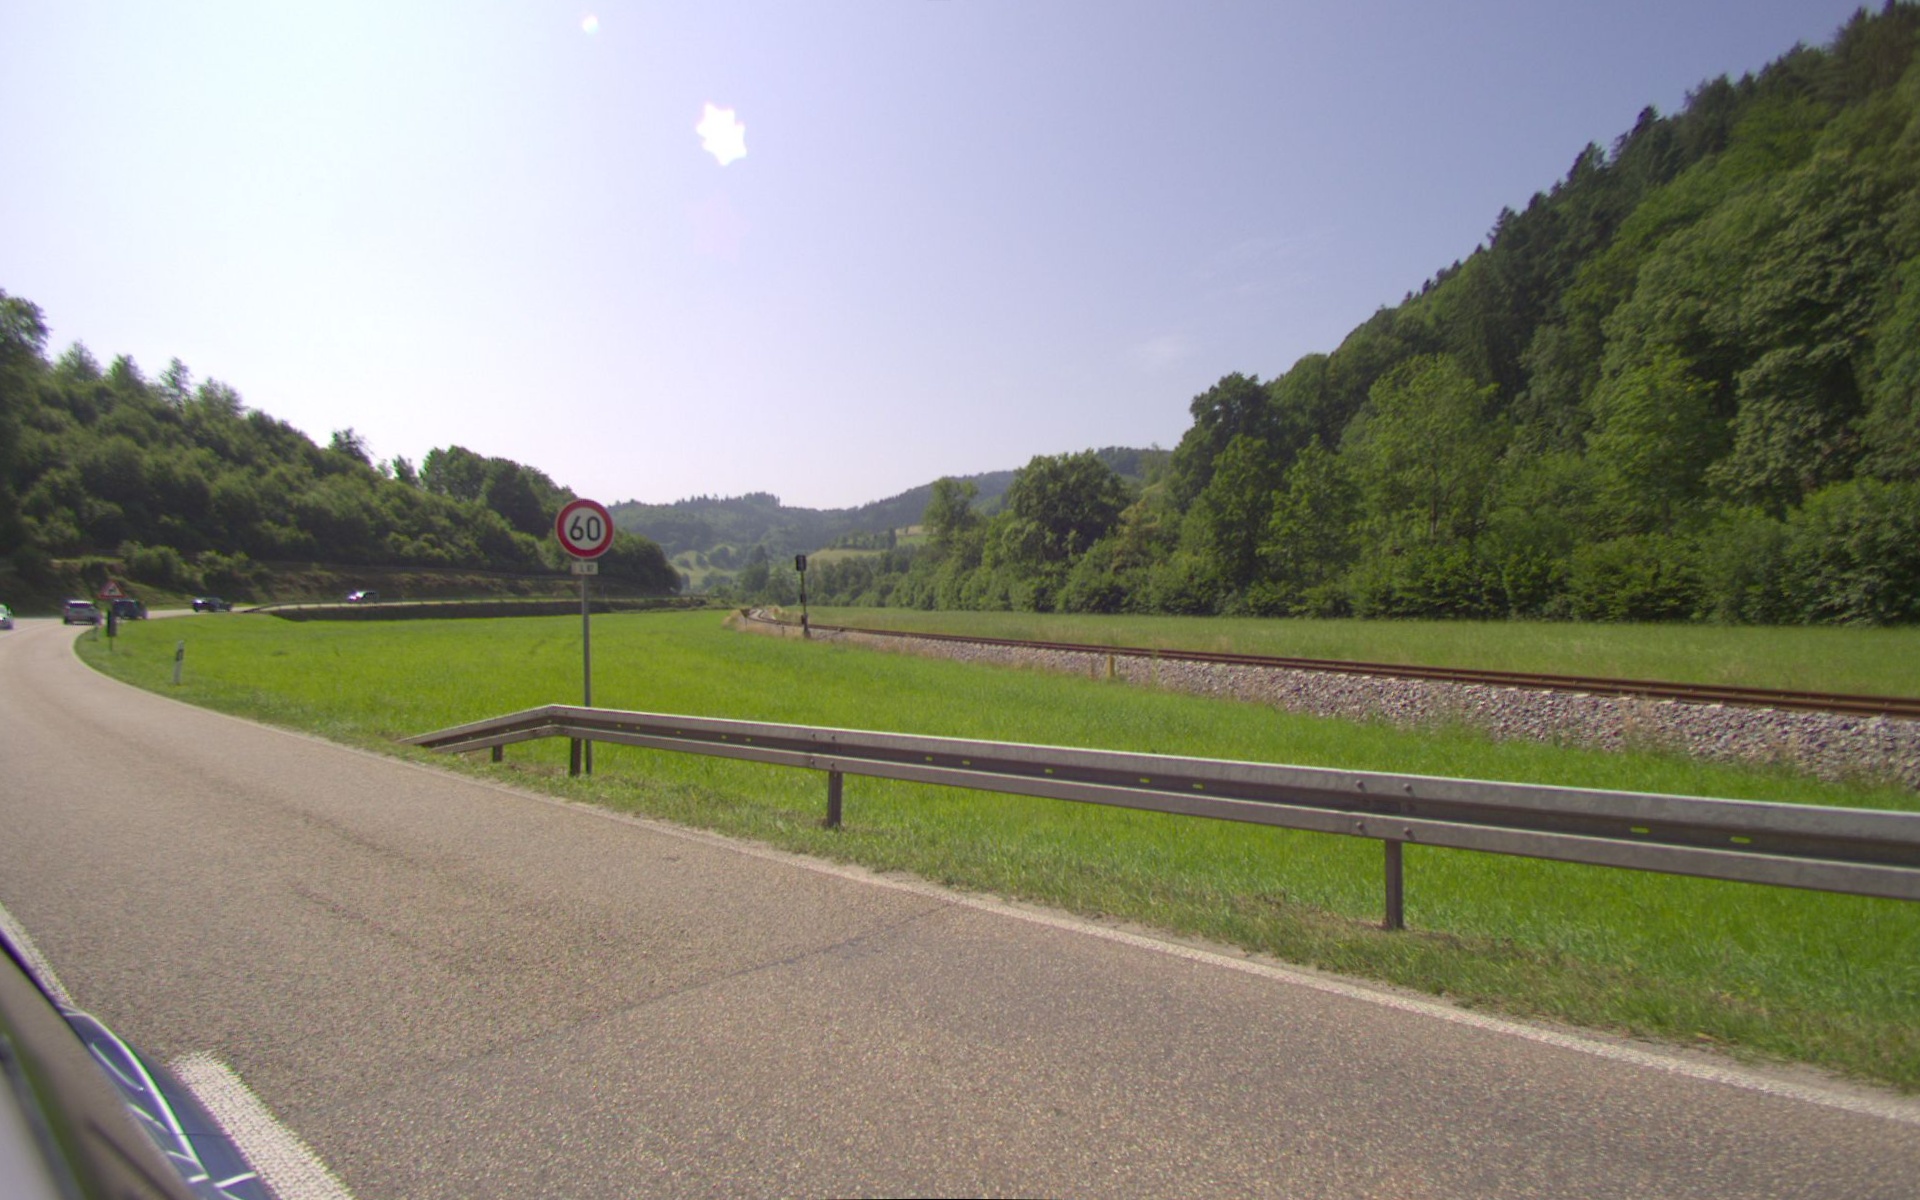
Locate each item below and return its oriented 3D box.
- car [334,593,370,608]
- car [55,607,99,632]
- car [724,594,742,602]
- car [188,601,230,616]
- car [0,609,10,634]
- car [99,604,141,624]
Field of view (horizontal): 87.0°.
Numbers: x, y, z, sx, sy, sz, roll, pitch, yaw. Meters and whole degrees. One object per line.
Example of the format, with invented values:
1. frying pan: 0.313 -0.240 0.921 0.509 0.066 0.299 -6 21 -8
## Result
1. car: -83.418 0.058 138.957 1.981 2.029 3.982 -1 -1 14
2. car: -63.563 1.388 72.889 1.889 1.727 4.170 1 -2 -34
3. car: -52.951 -0.369 236.391 1.938 1.753 4.870 1 -1 16
4. car: -79.342 0.862 107.033 1.891 1.481 4.522 -1 1 -13
5. car: -58.723 1.314 60.980 2.115 1.502 4.677 2 -2 -43
6. car: -71.290 1.189 85.947 1.839 1.636 4.525 -1 0 -28
